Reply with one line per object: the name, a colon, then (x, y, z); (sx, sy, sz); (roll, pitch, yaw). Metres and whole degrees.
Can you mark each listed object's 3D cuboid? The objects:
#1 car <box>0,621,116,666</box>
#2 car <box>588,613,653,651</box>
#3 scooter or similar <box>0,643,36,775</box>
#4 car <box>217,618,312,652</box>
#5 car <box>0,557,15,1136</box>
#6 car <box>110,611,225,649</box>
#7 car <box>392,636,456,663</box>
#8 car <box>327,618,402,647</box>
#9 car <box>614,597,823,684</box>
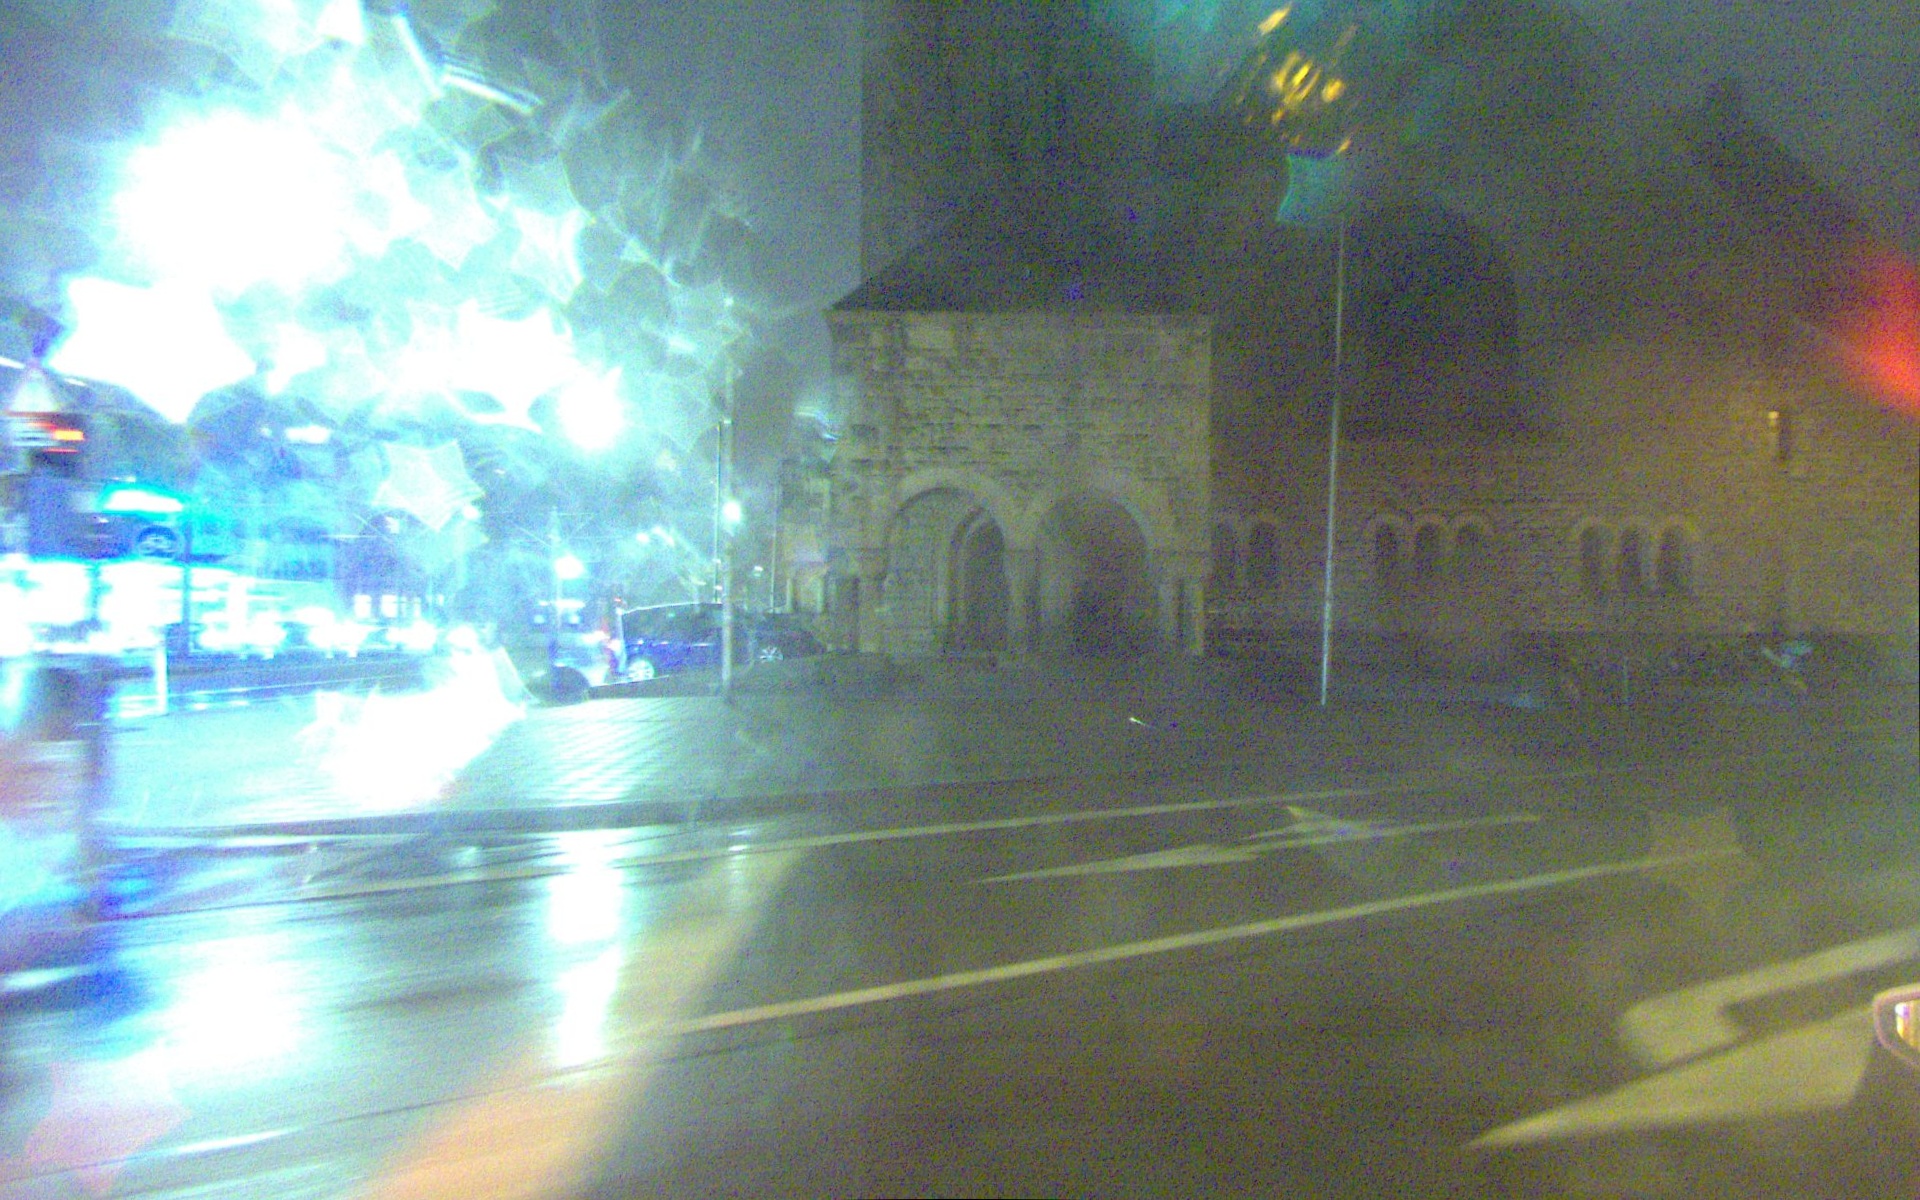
car: (-38.113, 1.788, 41.844); (1.860, 1.766, 4.741); (0, -2, 1)
car: (-16.918, 1.579, 50.261); (1.861, 1.804, 4.333); (0, -2, -2)
scooter or similar: (-9.680, 1.076, 10.165); (1.062, 1.256, 0.284); (0, -1, 37)
car: (-38.279, 1.926, 55.458); (1.860, 1.766, 4.741); (0, -2, 1)
car: (-4.065, 0.622, 0.553); (4.791, 1.574, 1.782); (1, -1, -27)
car: (-38.075, 1.450, 48.447); (1.861, 1.766, 4.739); (0, -2, -2)
car: (-37.817, 3.451, 70.997); (1.860, 1.766, 4.741); (0, -2, 1)
car: (-37.512, 2.028, 63.420); (1.860, 1.766, 4.741); (0, -2, 1)
car: (-5.161, 0.860, 21.830); (4.111, 1.723, 1.703); (-1, -1, -1)
